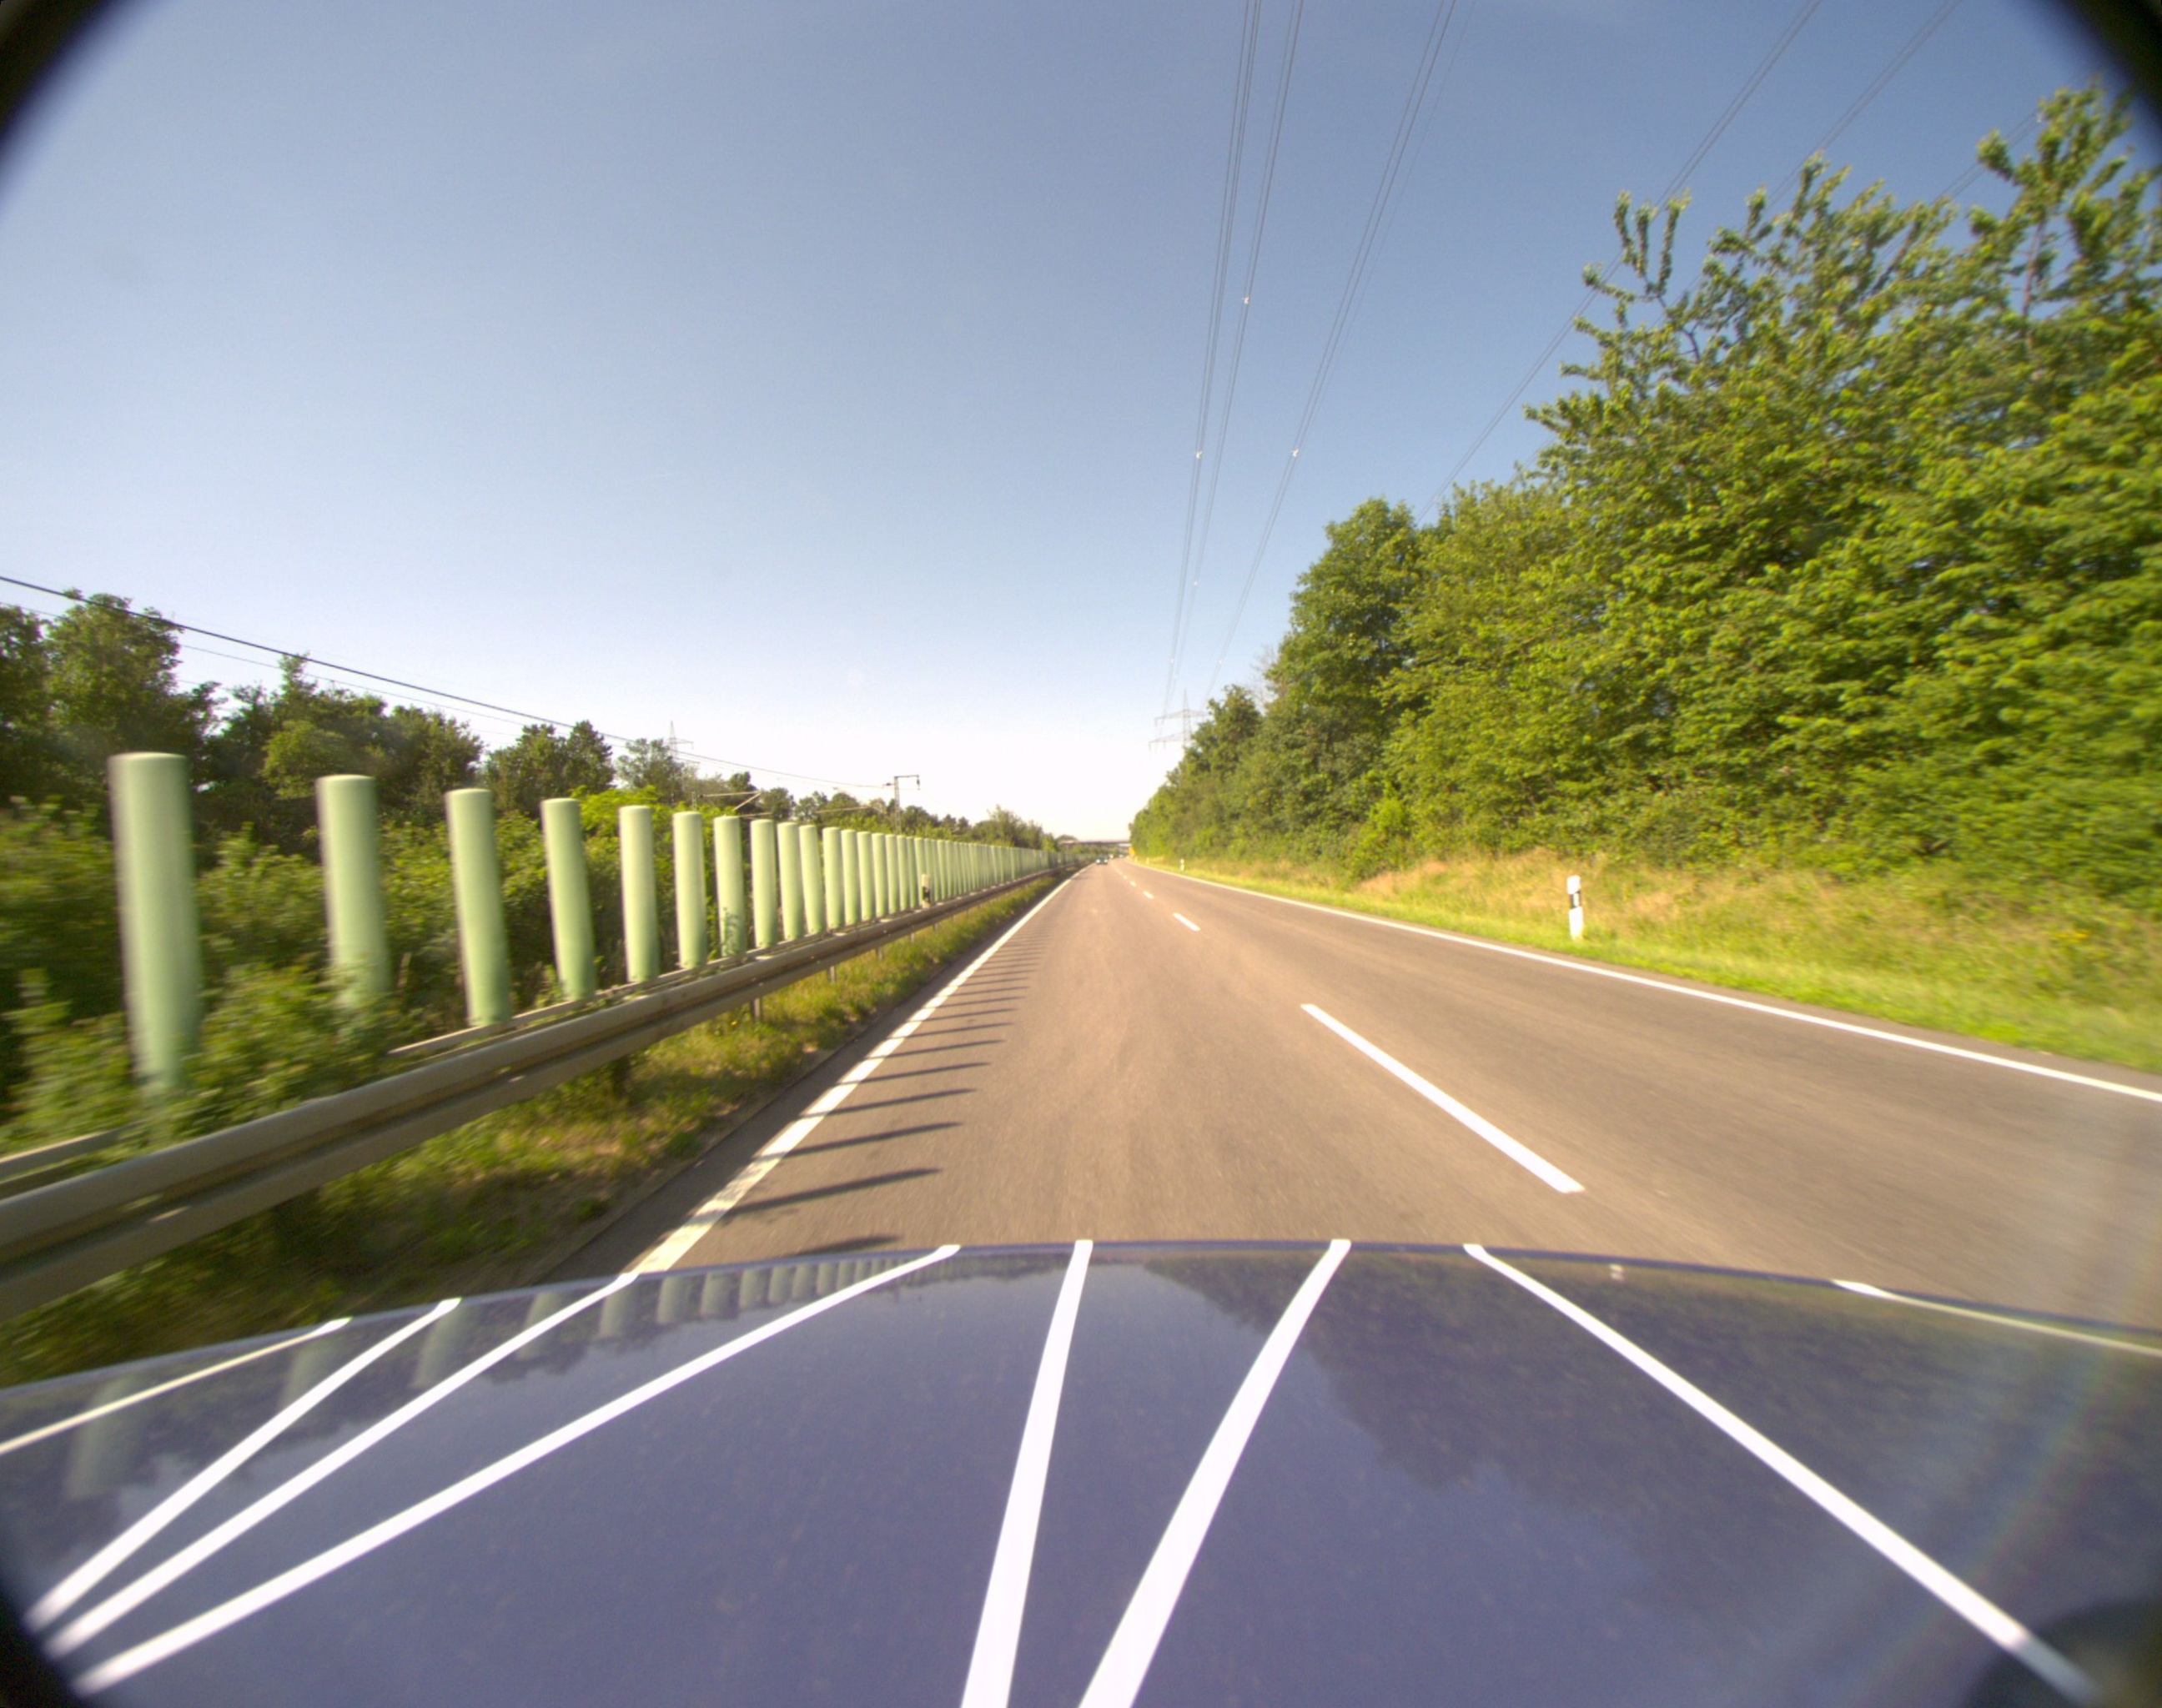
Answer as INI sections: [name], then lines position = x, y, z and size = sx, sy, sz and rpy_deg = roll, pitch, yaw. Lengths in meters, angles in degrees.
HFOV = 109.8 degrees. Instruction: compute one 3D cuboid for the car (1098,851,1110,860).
[car]
position = 3.895, 0.248, 128.241
size = 1.787, 1.550, 4.001
rpy_deg = -1, 0, 3
